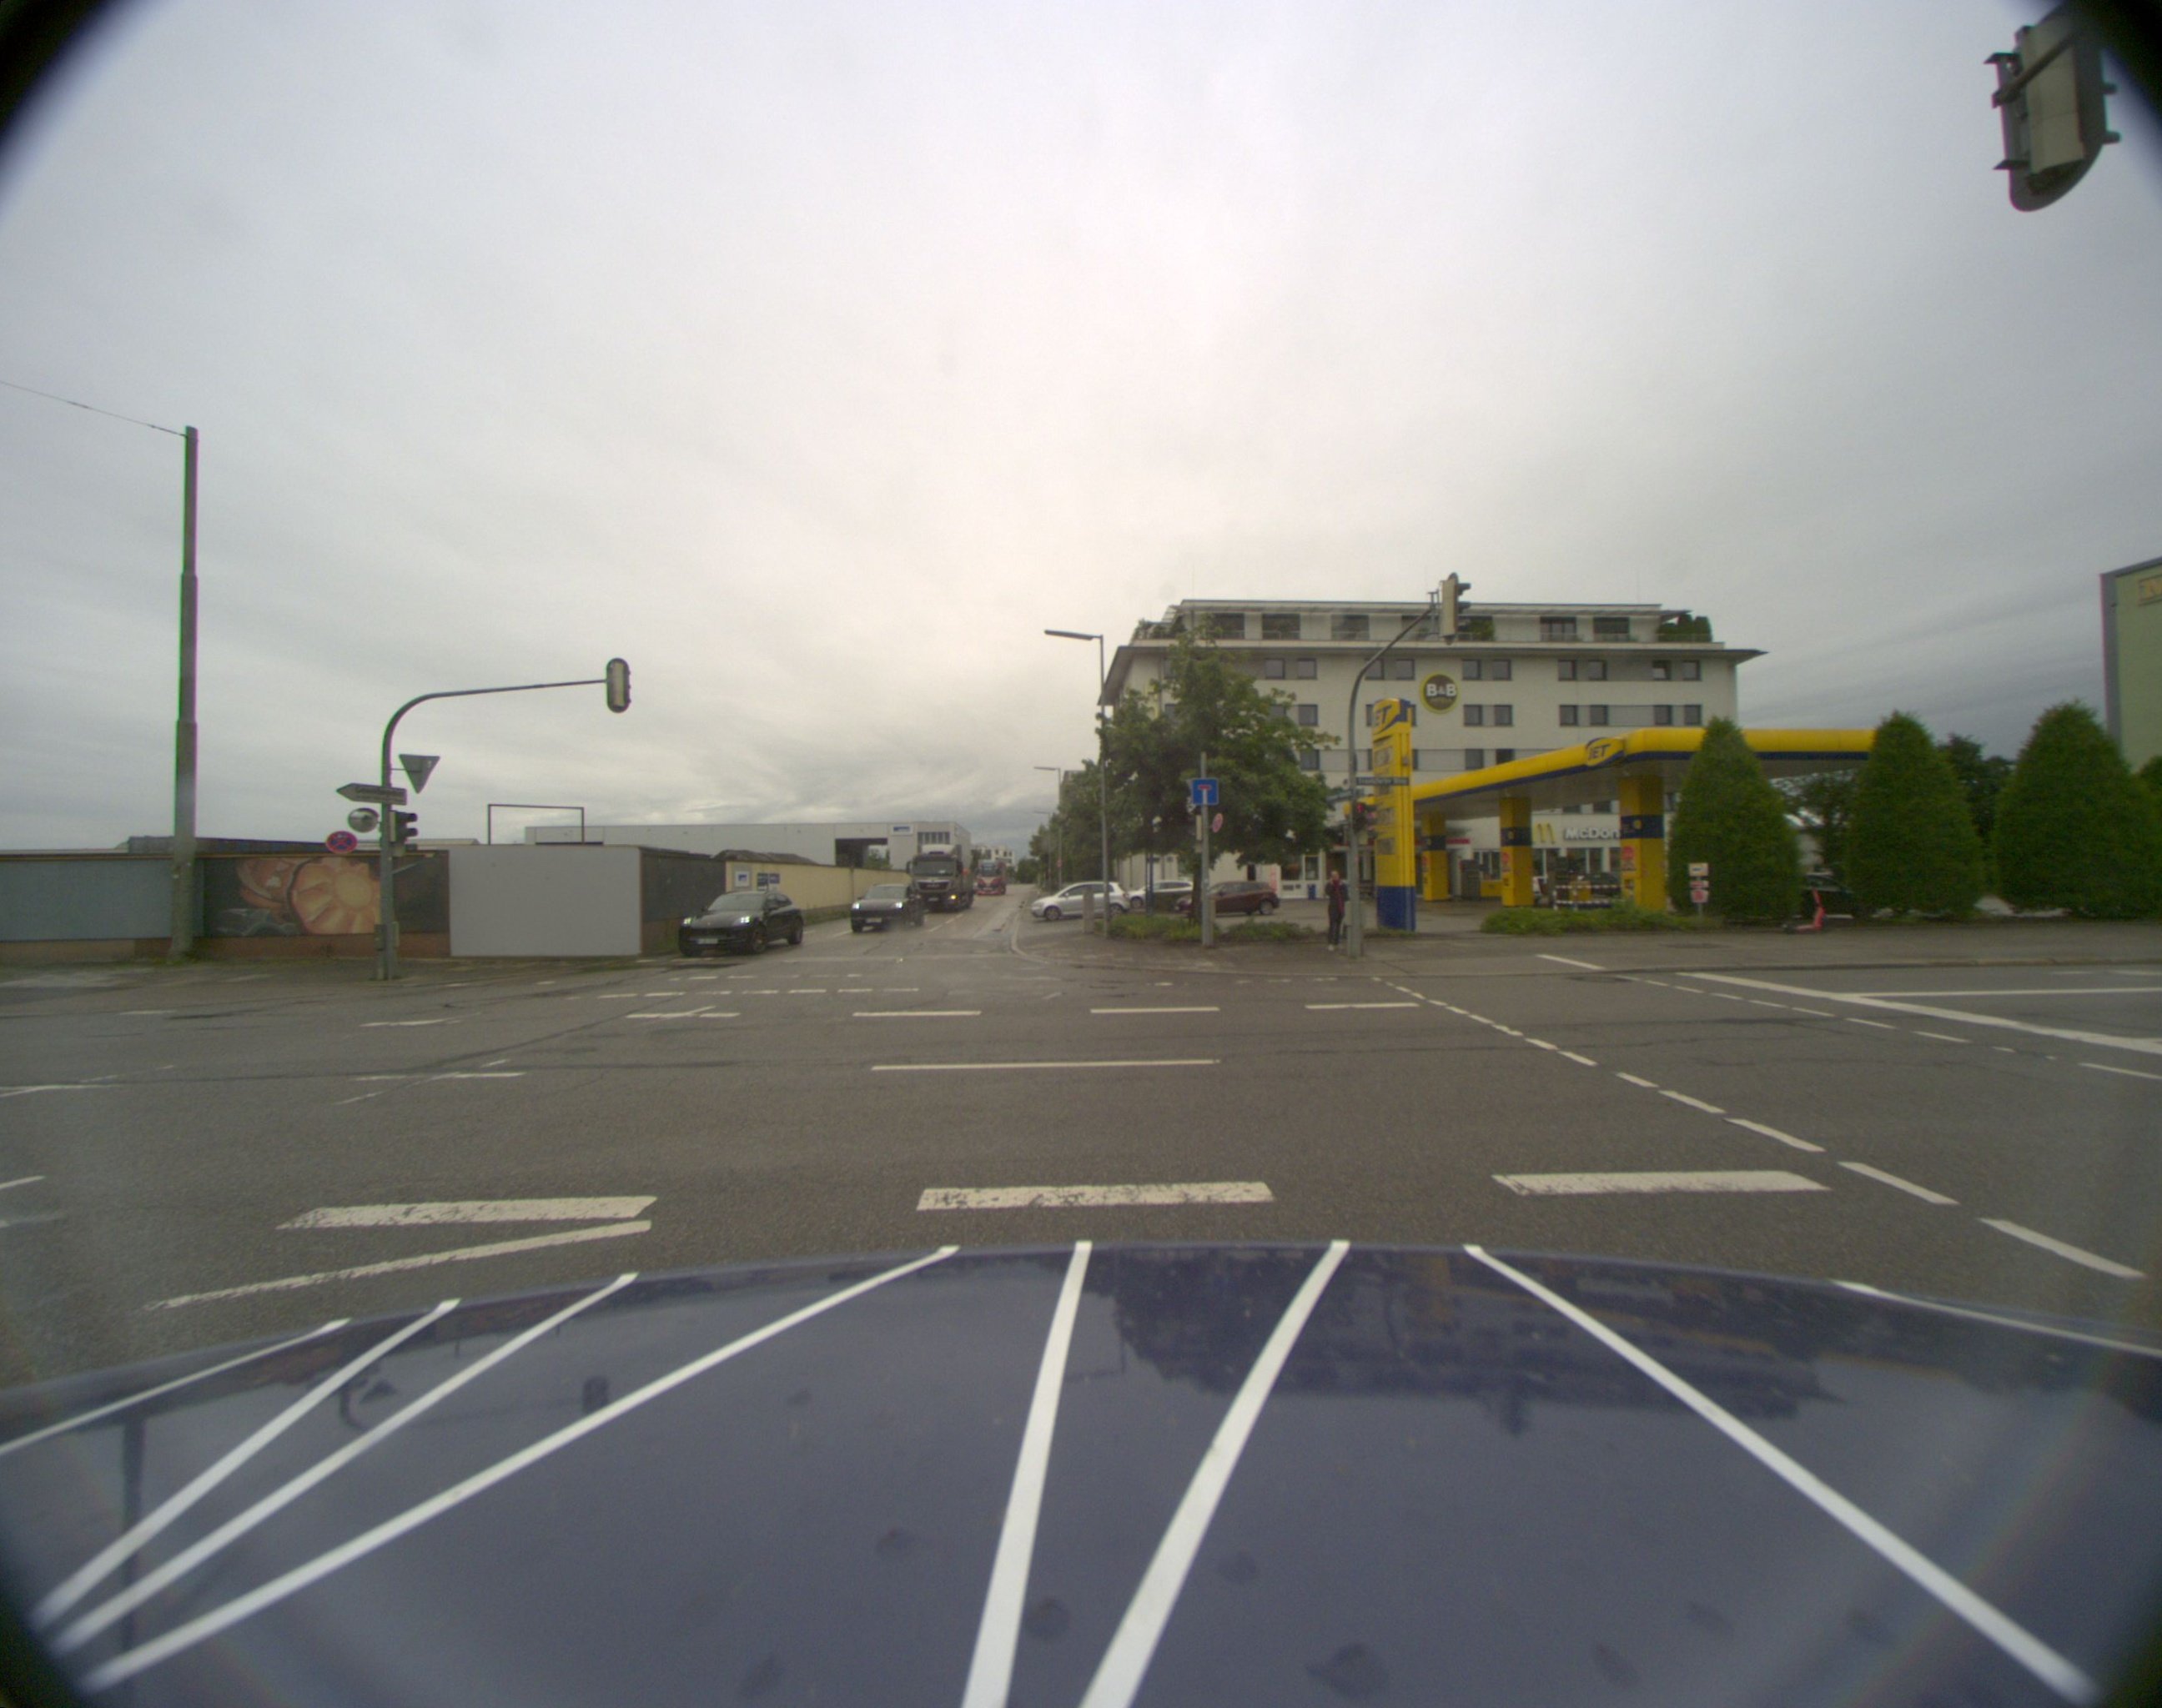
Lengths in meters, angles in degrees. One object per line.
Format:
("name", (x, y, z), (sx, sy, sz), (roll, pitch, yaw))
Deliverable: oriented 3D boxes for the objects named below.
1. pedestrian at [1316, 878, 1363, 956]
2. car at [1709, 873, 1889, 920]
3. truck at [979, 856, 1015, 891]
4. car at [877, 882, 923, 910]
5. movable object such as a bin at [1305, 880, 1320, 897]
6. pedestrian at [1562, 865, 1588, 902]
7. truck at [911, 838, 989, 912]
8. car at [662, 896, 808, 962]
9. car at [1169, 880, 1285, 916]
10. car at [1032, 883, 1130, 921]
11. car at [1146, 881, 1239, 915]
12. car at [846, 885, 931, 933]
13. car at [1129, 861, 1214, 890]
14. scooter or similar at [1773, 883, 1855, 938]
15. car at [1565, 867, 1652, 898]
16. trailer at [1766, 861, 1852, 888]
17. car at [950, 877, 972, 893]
("pedestrian", (5.549, 1.333, 16.337), (0.687, 1.606, 0.804), (-1, 1, -4))
("car", (22.080, 1.296, 23.465), (3.999, 1.323, 1.800), (-1, -3, -5))
("truck", (-9.764, 2.254, 89.585), (2.877, 3.808, 11.938), (-1, -1, 0))
("car", (-10.598, 2.439, 44.776), (1.762, 1.467, 4.001), (-1, -1, 0))
("movable object such as a bin", (13.915, 2.079, 45.703), (0.687, 0.957, 0.637), (-1, -2, -4))
("pedestrian", (23.408, 1.405, 36.010), (0.643, 1.717, 0.709), (-1, -2, -7))
("truck", (-7.599, 1.233, 45.836), (2.608, 3.832, 11.938), (-1, -1, 0))
("car", (-9.172, 1.930, 20.581), (1.999, 1.419, 4.265), (-1, -1, 0))
("car", (6.046, 1.815, 31.584), (4.365, 1.375, 1.703), (0, -3, -13))
("car", (-0.048, 2.003, 31.931), (3.977, 1.476, 1.628), (-1, -3, -5))
("car", (5.061, 2.005, 34.870), (3.976, 1.476, 1.629), (-1, -3, -2))
("car", (-7.065, 2.004, 28.449), (1.999, 1.523, 4.633), (-1, -1, 0))
("car", (4.795, 1.156, 40.517), (4.191, 1.468, 1.909), (-1, -3, -4))
("scooter or similar", (17.136, 1.308, 17.772), (1.544, 1.235, 0.357), (-1, 1, 1))
("car", (28.360, 1.523, 41.013), (1.706, 1.577, 3.999), (-1, -2, -5))
("trailer", (46.572, 1.332, 48.699), (1.635, 1.639, 3.810), (-1, -3, -4))
("car", (-13.179, 3.413, 83.405), (1.872, 1.695, 4.104), (-1, -3, -2))
